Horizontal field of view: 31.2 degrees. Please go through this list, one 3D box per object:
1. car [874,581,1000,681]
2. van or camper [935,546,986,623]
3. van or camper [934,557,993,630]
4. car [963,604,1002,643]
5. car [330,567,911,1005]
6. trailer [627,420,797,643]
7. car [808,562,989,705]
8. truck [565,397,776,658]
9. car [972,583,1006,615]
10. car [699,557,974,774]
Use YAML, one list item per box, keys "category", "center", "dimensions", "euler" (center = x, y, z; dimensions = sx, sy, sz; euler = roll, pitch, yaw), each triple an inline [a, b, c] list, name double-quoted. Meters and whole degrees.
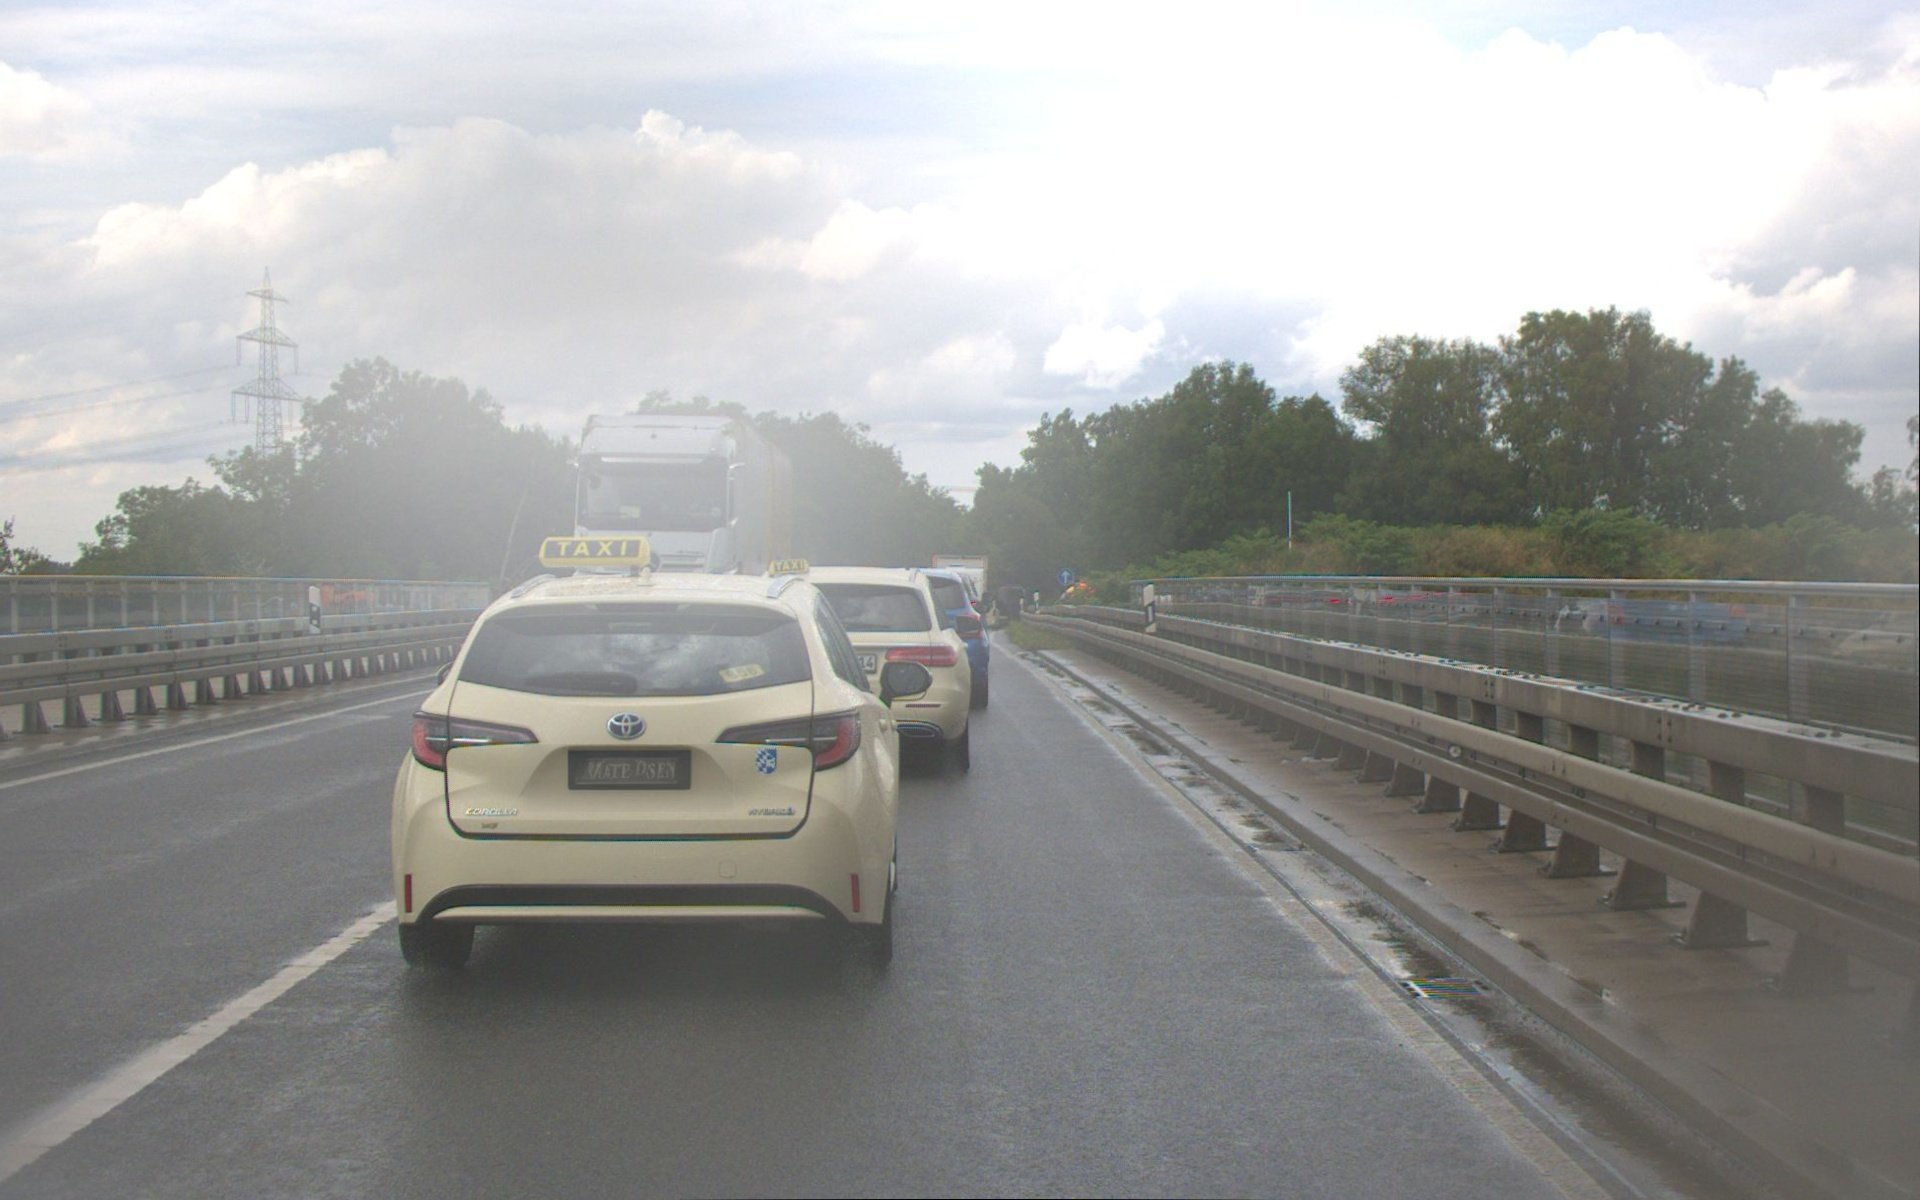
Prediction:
- category: "car"
  center: [-0.358, 0.452, 53.569]
  dimensions: [1.854, 1.438, 4.171]
  euler: [1, 1, 0]
- category: "van or camper"
  center: [0.021, -0.750, 163.489]
  dimensions: [2.332, 3.550, 6.306]
  euler: [1, 0, 0]
- category: "van or camper"
  center: [0.120, -0.281, 140.651]
  dimensions: [2.332, 2.854, 6.306]
  euler: [1, 0, 0]
- category: "car"
  center: [1.202, 1.266, 187.764]
  dimensions: [1.993, 2.007, 4.000]
  euler: [1, 0, -1]
- category: "car"
  center: [-1.146, 0.592, 13.380]
  dimensions: [1.854, 1.389, 4.171]
  euler: [1, 1, 0]
- category: "trailer"
  center: [-4.751, -1.310, 67.284]
  dimensions: [2.682, 4.061, 8.485]
  euler: [0, 1, 0]
- category: "car"
  center: [-0.648, 0.327, 37.734]
  dimensions: [1.854, 1.438, 4.171]
  euler: [1, 1, 0]
- category: "truck"
  center: [-4.732, -1.187, 58.019]
  dimensions: [2.682, 4.003, 10.055]
  euler: [0, 1, 0]
- category: "car"
  center: [1.806, -0.067, 217.176]
  dimensions: [1.993, 2.007, 4.000]
  euler: [1, 0, -1]
- category: "car"
  center: [-0.853, 0.418, 25.524]
  dimensions: [1.854, 1.438, 4.171]
  euler: [1, 1, 0]
